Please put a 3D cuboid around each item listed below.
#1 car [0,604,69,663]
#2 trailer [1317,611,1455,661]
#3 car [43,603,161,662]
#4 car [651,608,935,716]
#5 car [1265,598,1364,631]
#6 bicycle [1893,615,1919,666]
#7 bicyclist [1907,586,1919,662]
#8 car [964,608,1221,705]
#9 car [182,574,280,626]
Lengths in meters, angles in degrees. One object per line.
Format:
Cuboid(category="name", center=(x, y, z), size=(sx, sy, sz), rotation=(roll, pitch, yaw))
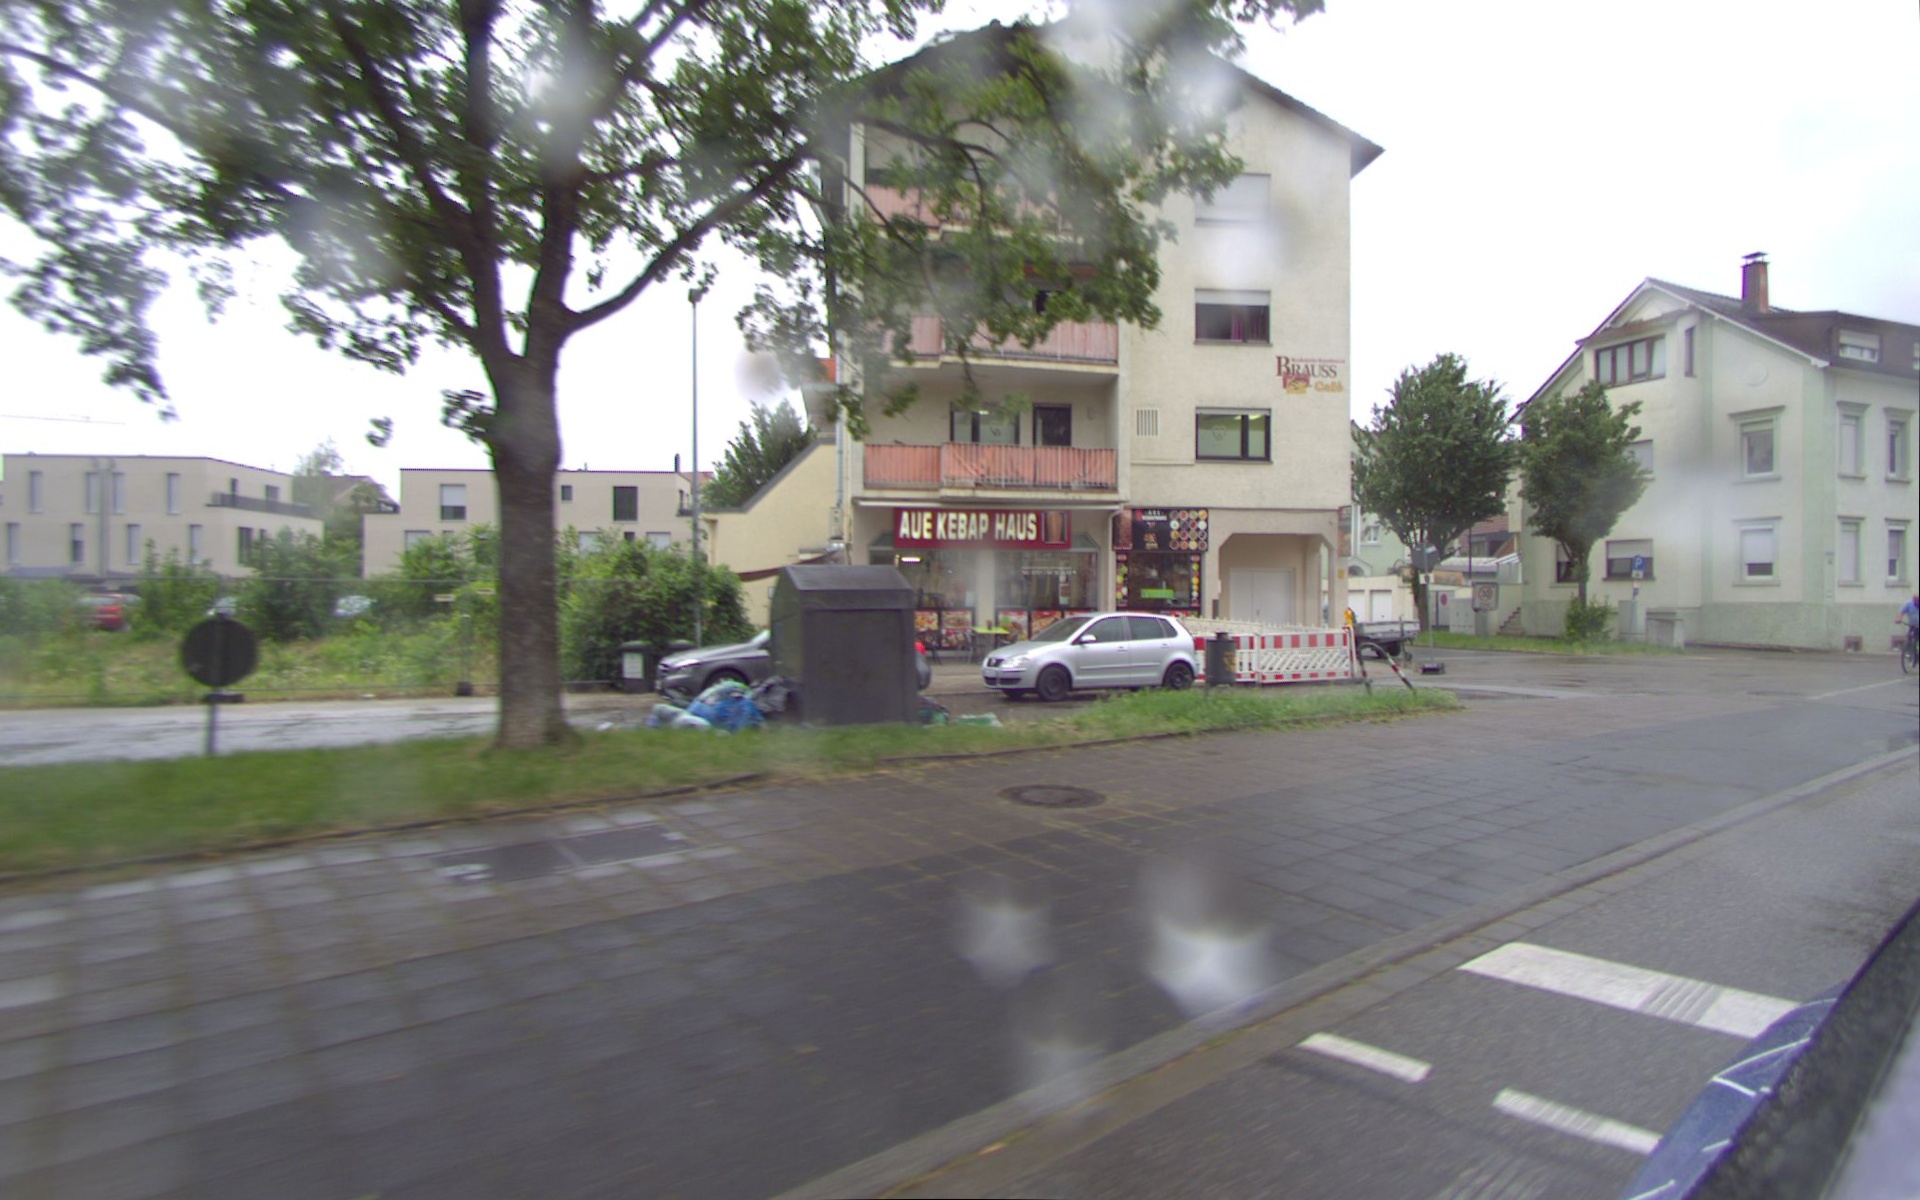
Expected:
Cuboid(category="car", center=(-32.250, 1.091, 34.192), size=(1.958, 1.883, 4.007), rotation=(-1, 0, -22))
Cuboid(category="trailer", center=(12.127, 0.979, 29.171), size=(1.788, 1.247, 4.536), rotation=(-1, 0, -3))
Cuboid(category="car", center=(-29.760, 1.067, 35.238), size=(1.958, 1.883, 4.007), rotation=(-1, 0, -22))
Cuboid(category="car", center=(-2.594, 0.877, 15.750), size=(4.070, 1.452, 1.706), rotation=(-1, 0, -23))
Cuboid(category="car", center=(17.846, 0.706, 50.995), size=(4.372, 1.554, 1.741), rotation=(-1, 0, -12))
Cuboid(category="bicycle", center=(20.764, 0.853, 21.654), size=(1.933, 1.074, 0.675), rotation=(1, -1, -32))
Cuboid(category="bicyclist", center=(20.540, 0.507, 21.363), size=(0.701, 1.603, 0.641), rotation=(1, -1, -32))
Cuboid(category="car", center=(2.277, 0.896, 17.398), size=(4.089, 1.452, 1.642), rotation=(-1, 0, -22))
Cuboid(category="car", center=(-25.717, 0.010, 35.828), size=(1.869, 1.705, 4.007), rotation=(-1, 0, -21))
